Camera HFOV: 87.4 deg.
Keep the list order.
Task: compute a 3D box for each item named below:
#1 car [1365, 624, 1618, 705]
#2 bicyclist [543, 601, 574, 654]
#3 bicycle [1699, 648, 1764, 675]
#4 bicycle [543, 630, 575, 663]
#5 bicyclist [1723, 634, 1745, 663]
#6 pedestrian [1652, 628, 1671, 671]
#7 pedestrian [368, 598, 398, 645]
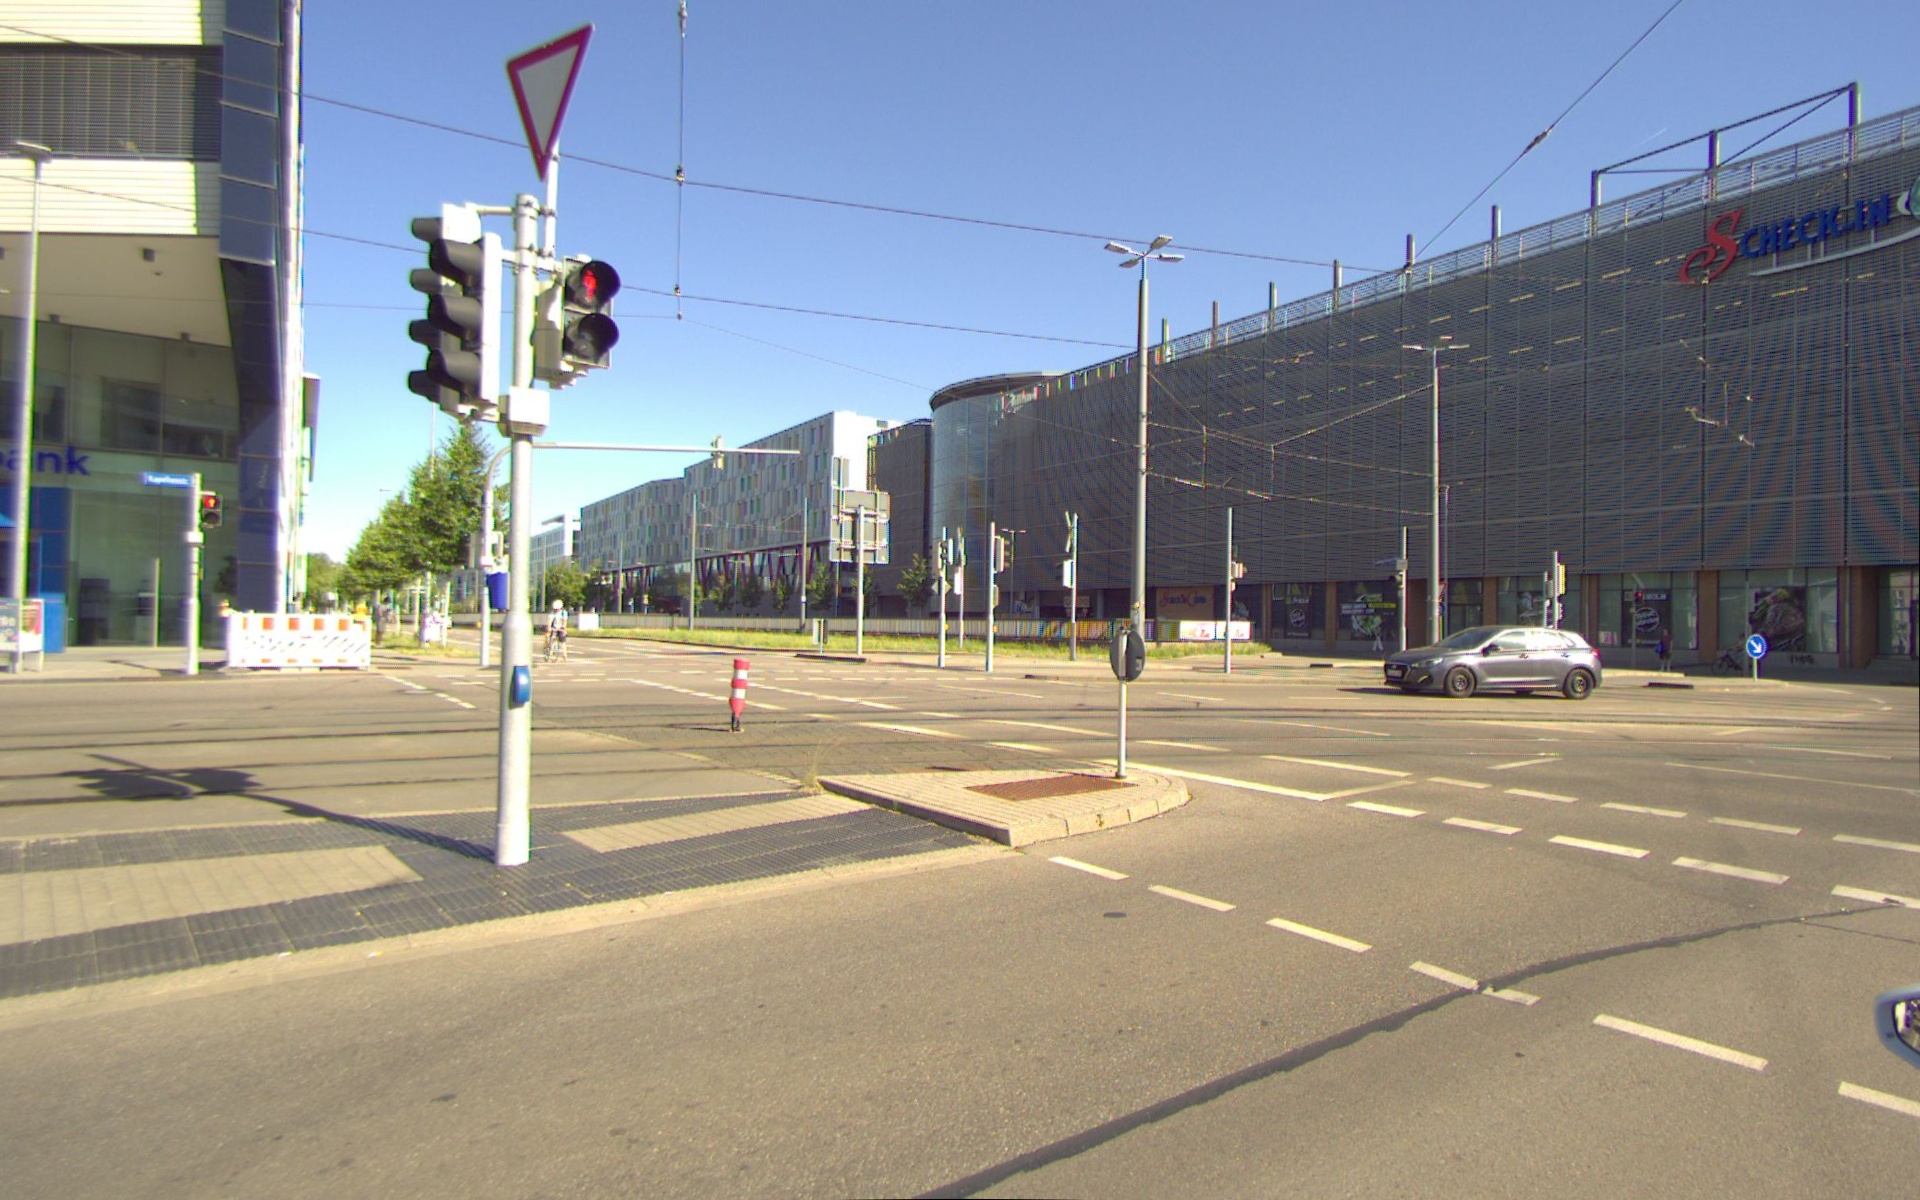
[{"bbox_3d":[10.903,1.309,20.790,4.228,1.519,1.999,1,-1,-5],"label":"car"},{"bbox_3d":[-11.020,0.765,27.572,0.751,1.428,0.767,1,-1,-23],"label":"bicyclist"},{"bbox_3d":[31.010,2.477,40.415,1.982,0.998,0.559,1,-1,22],"label":"bicycle"},{"bbox_3d":[-11.014,1.262,27.532,0.759,0.851,2.554,1,-2,-23],"label":"bicycle"},{"bbox_3d":[31.100,1.945,40.383,0.552,1.154,0.559,1,-1,22],"label":"bicyclist"},{"bbox_3d":[29.667,2.091,42.478,0.615,1.774,0.587,0,-1,36],"label":"pedestrian"},{"bbox_3d":[-19.523,0.733,33.983,0.847,1.576,0.609,2,-1,-30],"label":"pedestrian"}]
